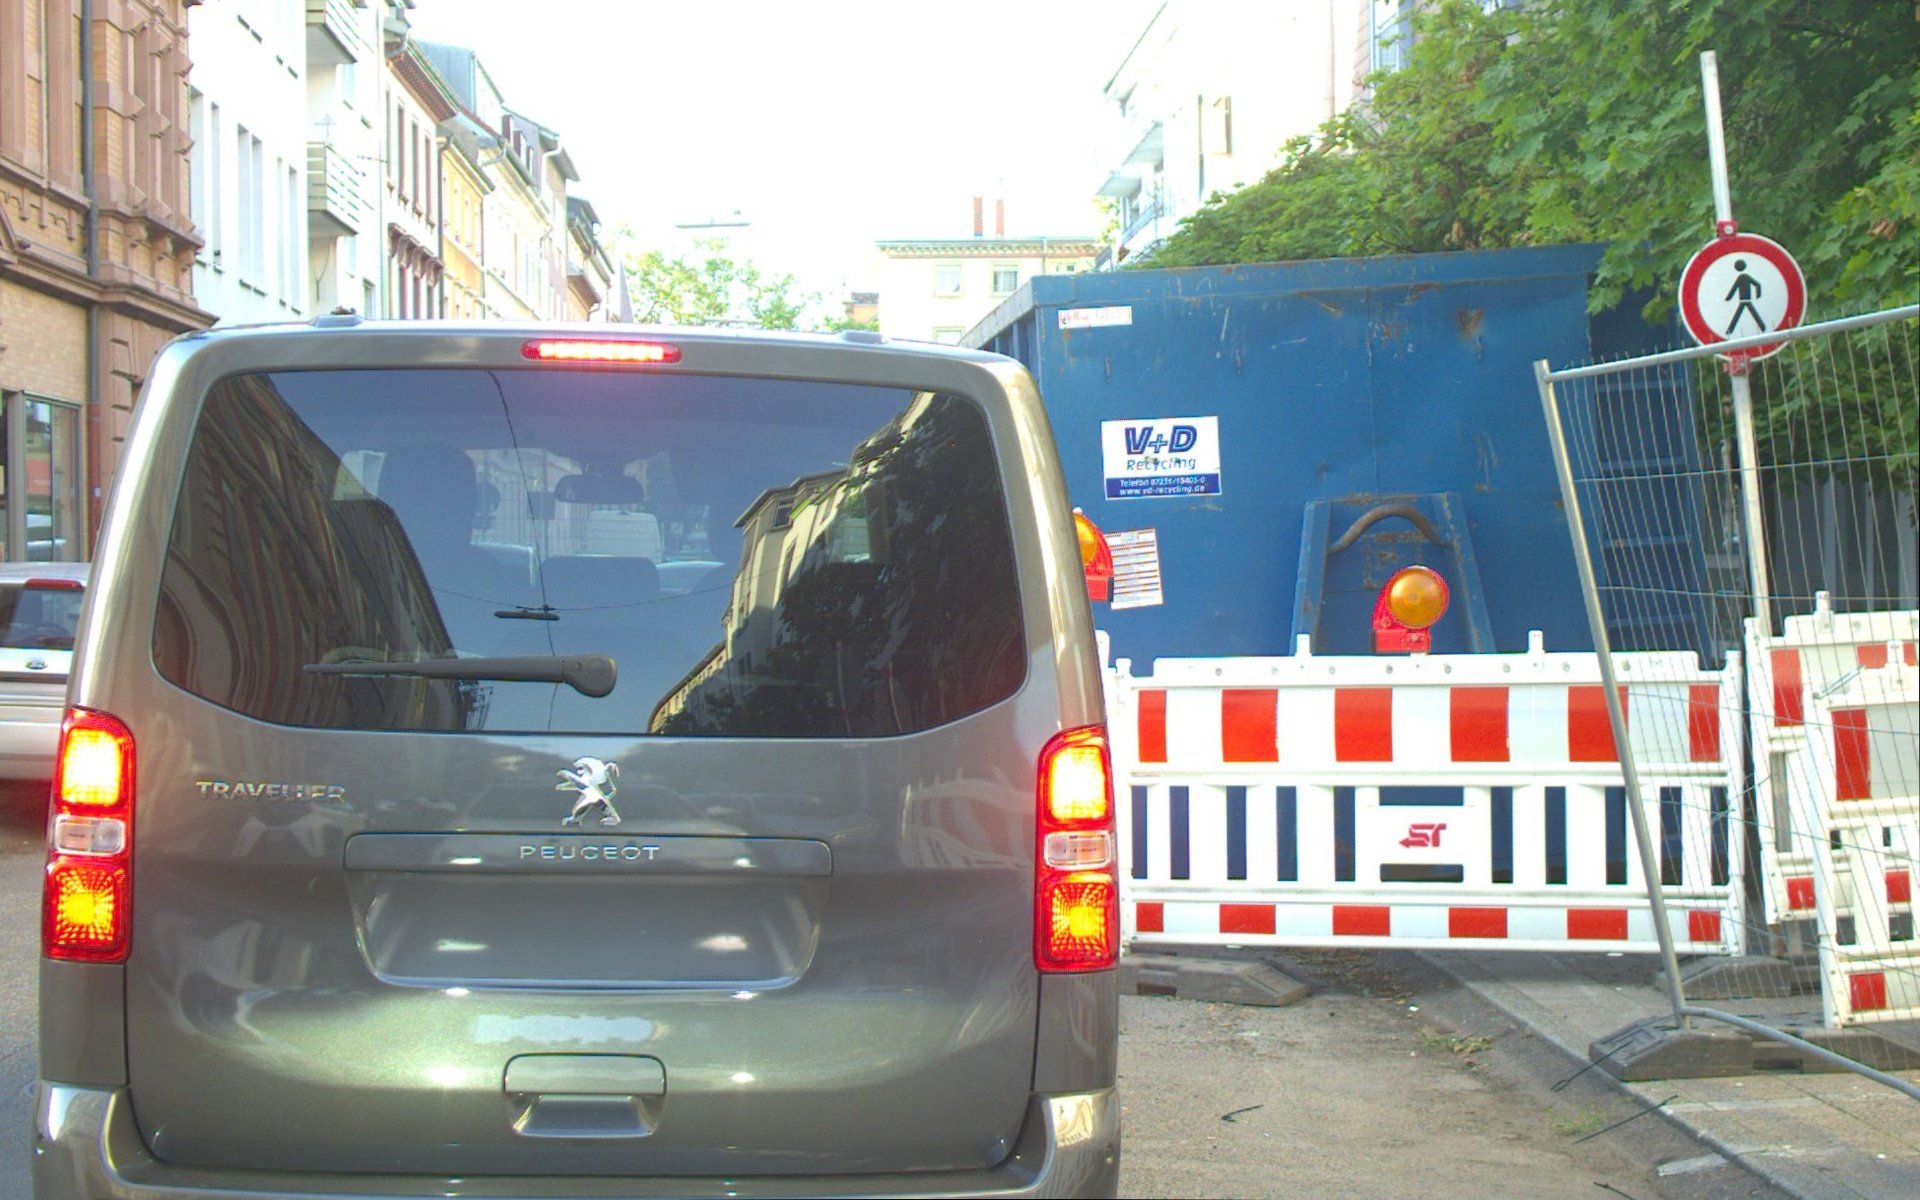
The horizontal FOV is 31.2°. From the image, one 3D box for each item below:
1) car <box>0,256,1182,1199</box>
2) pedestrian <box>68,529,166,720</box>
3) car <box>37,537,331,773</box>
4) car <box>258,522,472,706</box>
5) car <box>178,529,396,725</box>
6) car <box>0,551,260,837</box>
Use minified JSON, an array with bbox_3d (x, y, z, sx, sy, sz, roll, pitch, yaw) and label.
[{"bbox_3d":[-0.821,0.414,7.351,1.865,1.880,4.236,0,0,-6],"label":"car"},{"bbox_3d":[-7.432,0.209,30.332,0.739,1.659,0.704,-1,1,-7],"label":"pedestrian"},{"bbox_3d":[-5.669,0.372,25.446,1.655,1.520,3.418,4,0,-6],"label":"car"},{"bbox_3d":[-6.199,0.132,36.175,1.891,1.714,3.755,4,0,-6],"label":"car"},{"bbox_3d":[-6.314,0.235,32.530,1.666,1.660,3.092,4,0,-6],"label":"car"},{"bbox_3d":[-5.149,0.484,20.137,1.655,1.455,3.418,4,0,-6],"label":"car"}]
